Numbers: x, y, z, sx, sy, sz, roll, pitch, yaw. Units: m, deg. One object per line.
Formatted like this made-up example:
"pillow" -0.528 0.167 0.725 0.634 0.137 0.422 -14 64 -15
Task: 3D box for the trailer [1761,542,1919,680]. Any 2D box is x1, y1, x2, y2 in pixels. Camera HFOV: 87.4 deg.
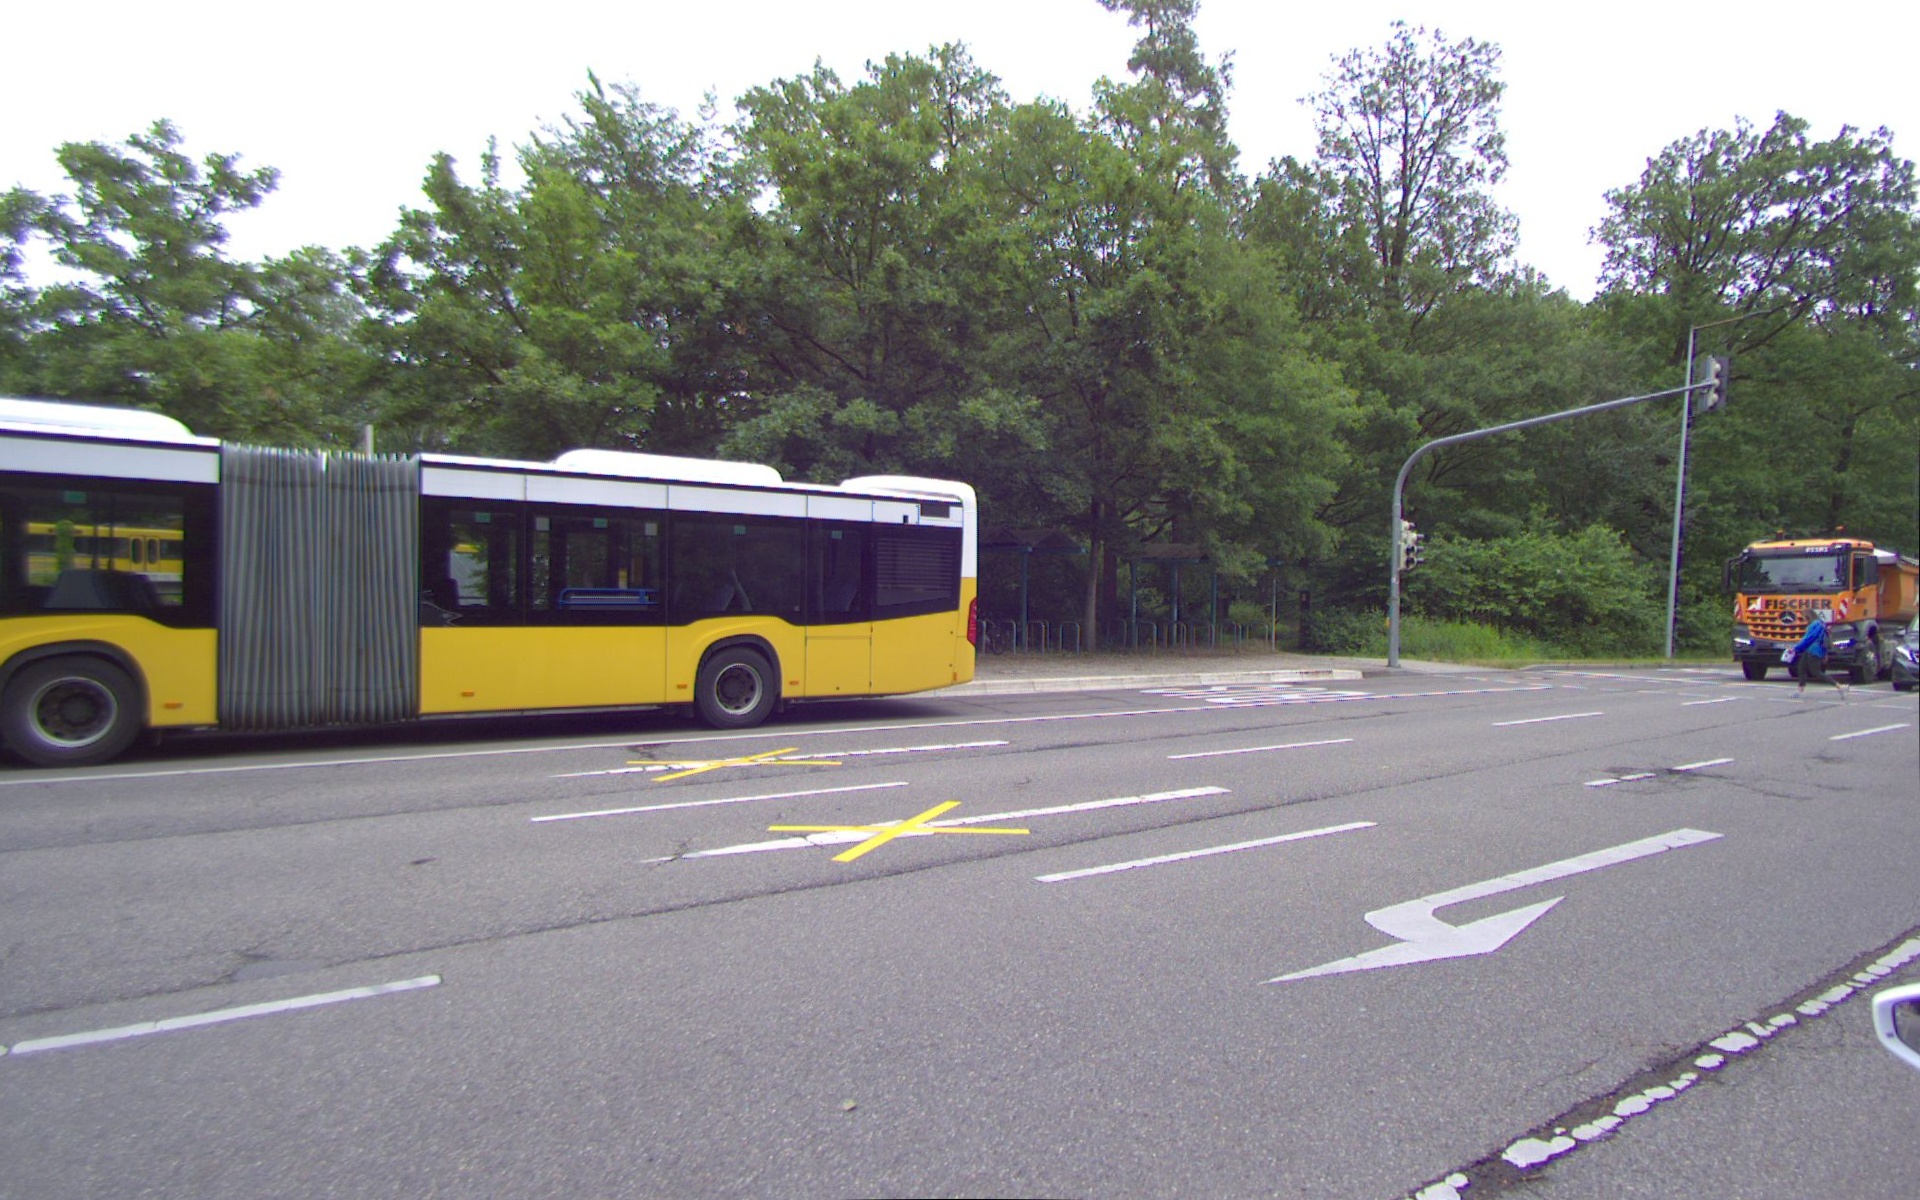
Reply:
"trailer" 25.391 0.406 28.085 8.491 3.362 2.719 2 -2 -37

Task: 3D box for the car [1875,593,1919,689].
"car" 21.367 0.879 21.302 4.792 1.918 1.980 2 -2 -36

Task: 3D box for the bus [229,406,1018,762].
"bus" -3.622 -0.108 12.494 8.598 3.169 2.883 1 1 -32

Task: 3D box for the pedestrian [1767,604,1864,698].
"pedestrian" 15.717 0.904 18.463 1.056 1.671 1.043 0 0 -28

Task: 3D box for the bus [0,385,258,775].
"bus" -11.338 -0.232 7.613 9.651 3.169 2.883 1 1 -32

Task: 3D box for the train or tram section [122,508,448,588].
"train or tram section" -43.598 -3.294 66.707 3.520 4.595 18.656 3 3 27

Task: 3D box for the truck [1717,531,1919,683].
"truck" 22.049 0.277 25.509 7.095 3.362 2.719 2 -2 -37
